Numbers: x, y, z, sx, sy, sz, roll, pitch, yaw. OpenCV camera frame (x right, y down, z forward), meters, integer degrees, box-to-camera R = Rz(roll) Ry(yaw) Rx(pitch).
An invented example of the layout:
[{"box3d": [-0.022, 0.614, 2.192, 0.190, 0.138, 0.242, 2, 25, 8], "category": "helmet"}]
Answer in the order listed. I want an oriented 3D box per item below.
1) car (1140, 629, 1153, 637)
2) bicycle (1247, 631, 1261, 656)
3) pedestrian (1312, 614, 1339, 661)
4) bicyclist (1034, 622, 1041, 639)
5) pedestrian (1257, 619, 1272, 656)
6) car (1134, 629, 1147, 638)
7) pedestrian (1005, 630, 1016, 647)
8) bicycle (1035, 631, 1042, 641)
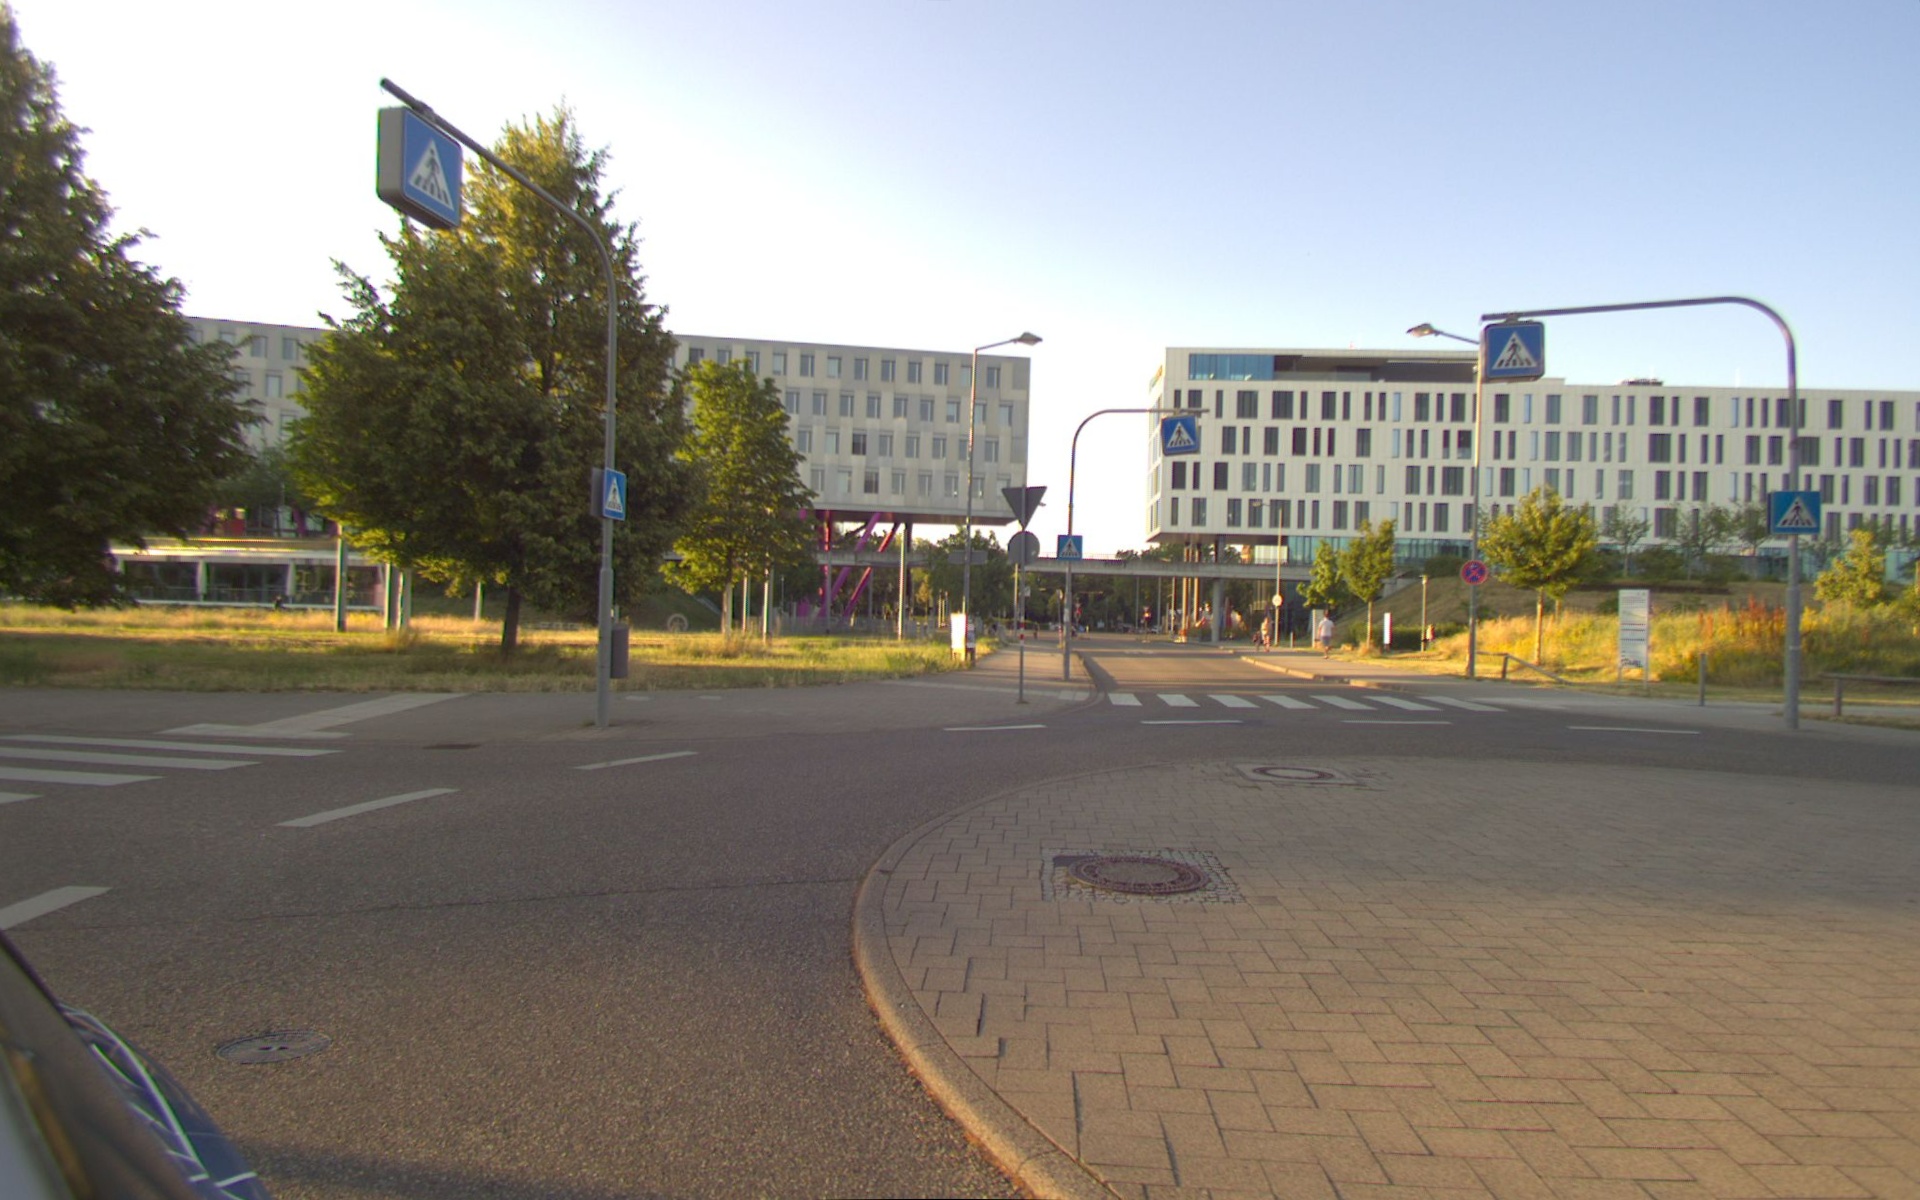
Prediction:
[{"box3d": [37.126, 6.562, 201.105, 1.496, 1.618, 3.367, 1, 0, 31], "category": "car"}, {"box3d": [14.982, 2.202, 51.592, 0.446, 1.177, 1.934, 1, 0, 10], "category": "bicycle"}, {"box3d": [14.299, 1.455, 39.606, 0.825, 1.780, 0.815, 1, -1, 12], "category": "pedestrian"}, {"box3d": [7.920, 3.093, 102.880, 0.610, 1.675, 1.033, 1, 0, 9], "category": "bicyclist"}, {"box3d": [15.463, 1.894, 51.440, 0.590, 1.815, 0.815, 1, -1, 12], "category": "pedestrian"}, {"box3d": [35.323, 6.488, 197.840, 1.496, 1.618, 3.367, 1, 0, 31], "category": "car"}, {"box3d": [5.582, 4.270, 112.506, 1.040, 1.848, 0.897, 2, -1, -8], "category": "pedestrian"}, {"box3d": [7.944, 3.653, 102.851, 0.534, 1.051, 1.919, 1, 0, 9], "category": "bicycle"}]
